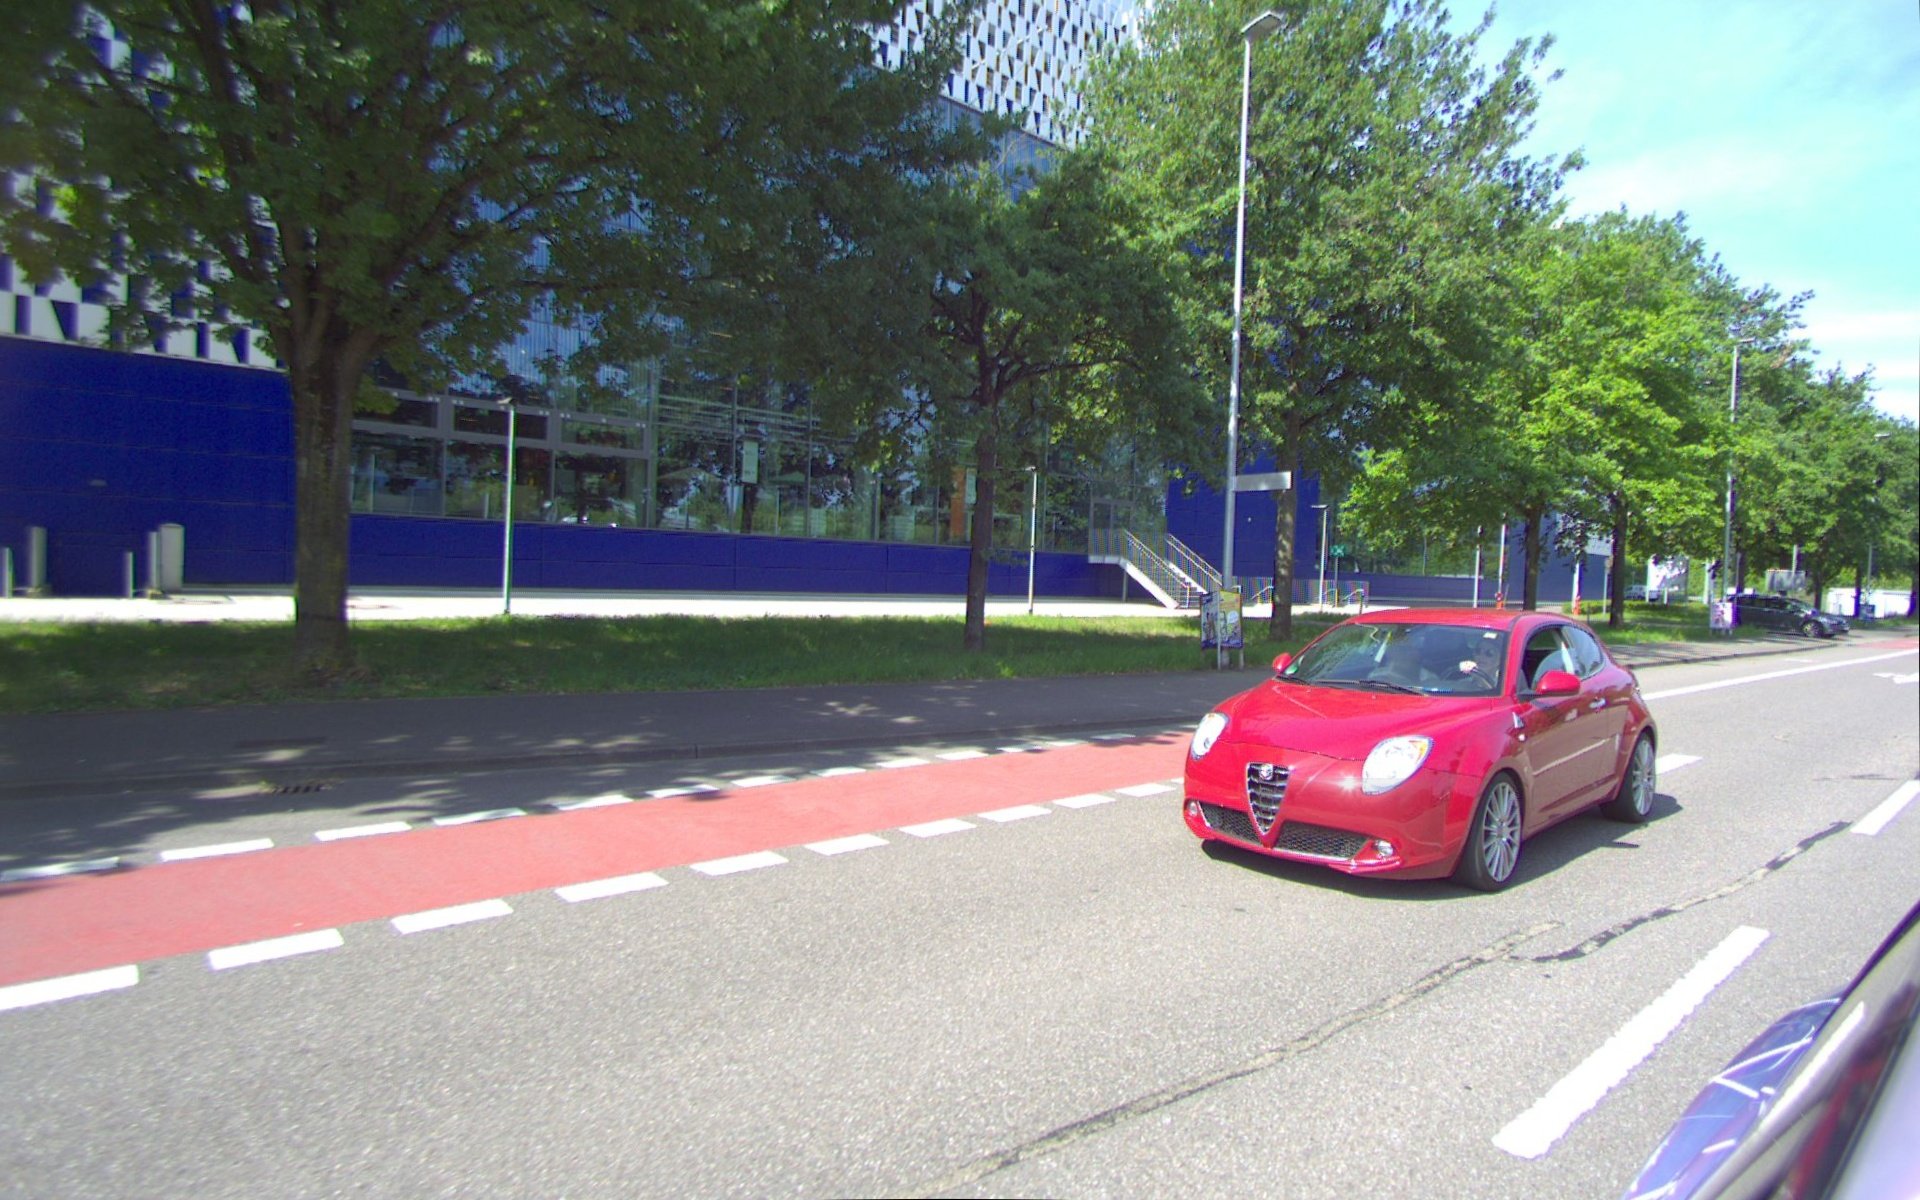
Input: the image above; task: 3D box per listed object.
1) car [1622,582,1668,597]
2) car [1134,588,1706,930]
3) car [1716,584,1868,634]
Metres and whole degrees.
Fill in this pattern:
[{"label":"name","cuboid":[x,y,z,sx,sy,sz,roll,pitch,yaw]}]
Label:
[{"label":"car","cuboid":[77.616,-1.162,114.735,1.818,1.660,4.313,1,1,-12]},{"label":"car","cuboid":[3.073,0.681,6.416,3.909,1.472,1.797,0,2,-40]},{"label":"car","cuboid":[34.428,0.346,41.997,1.808,1.714,4.463,1,3,-33]}]
